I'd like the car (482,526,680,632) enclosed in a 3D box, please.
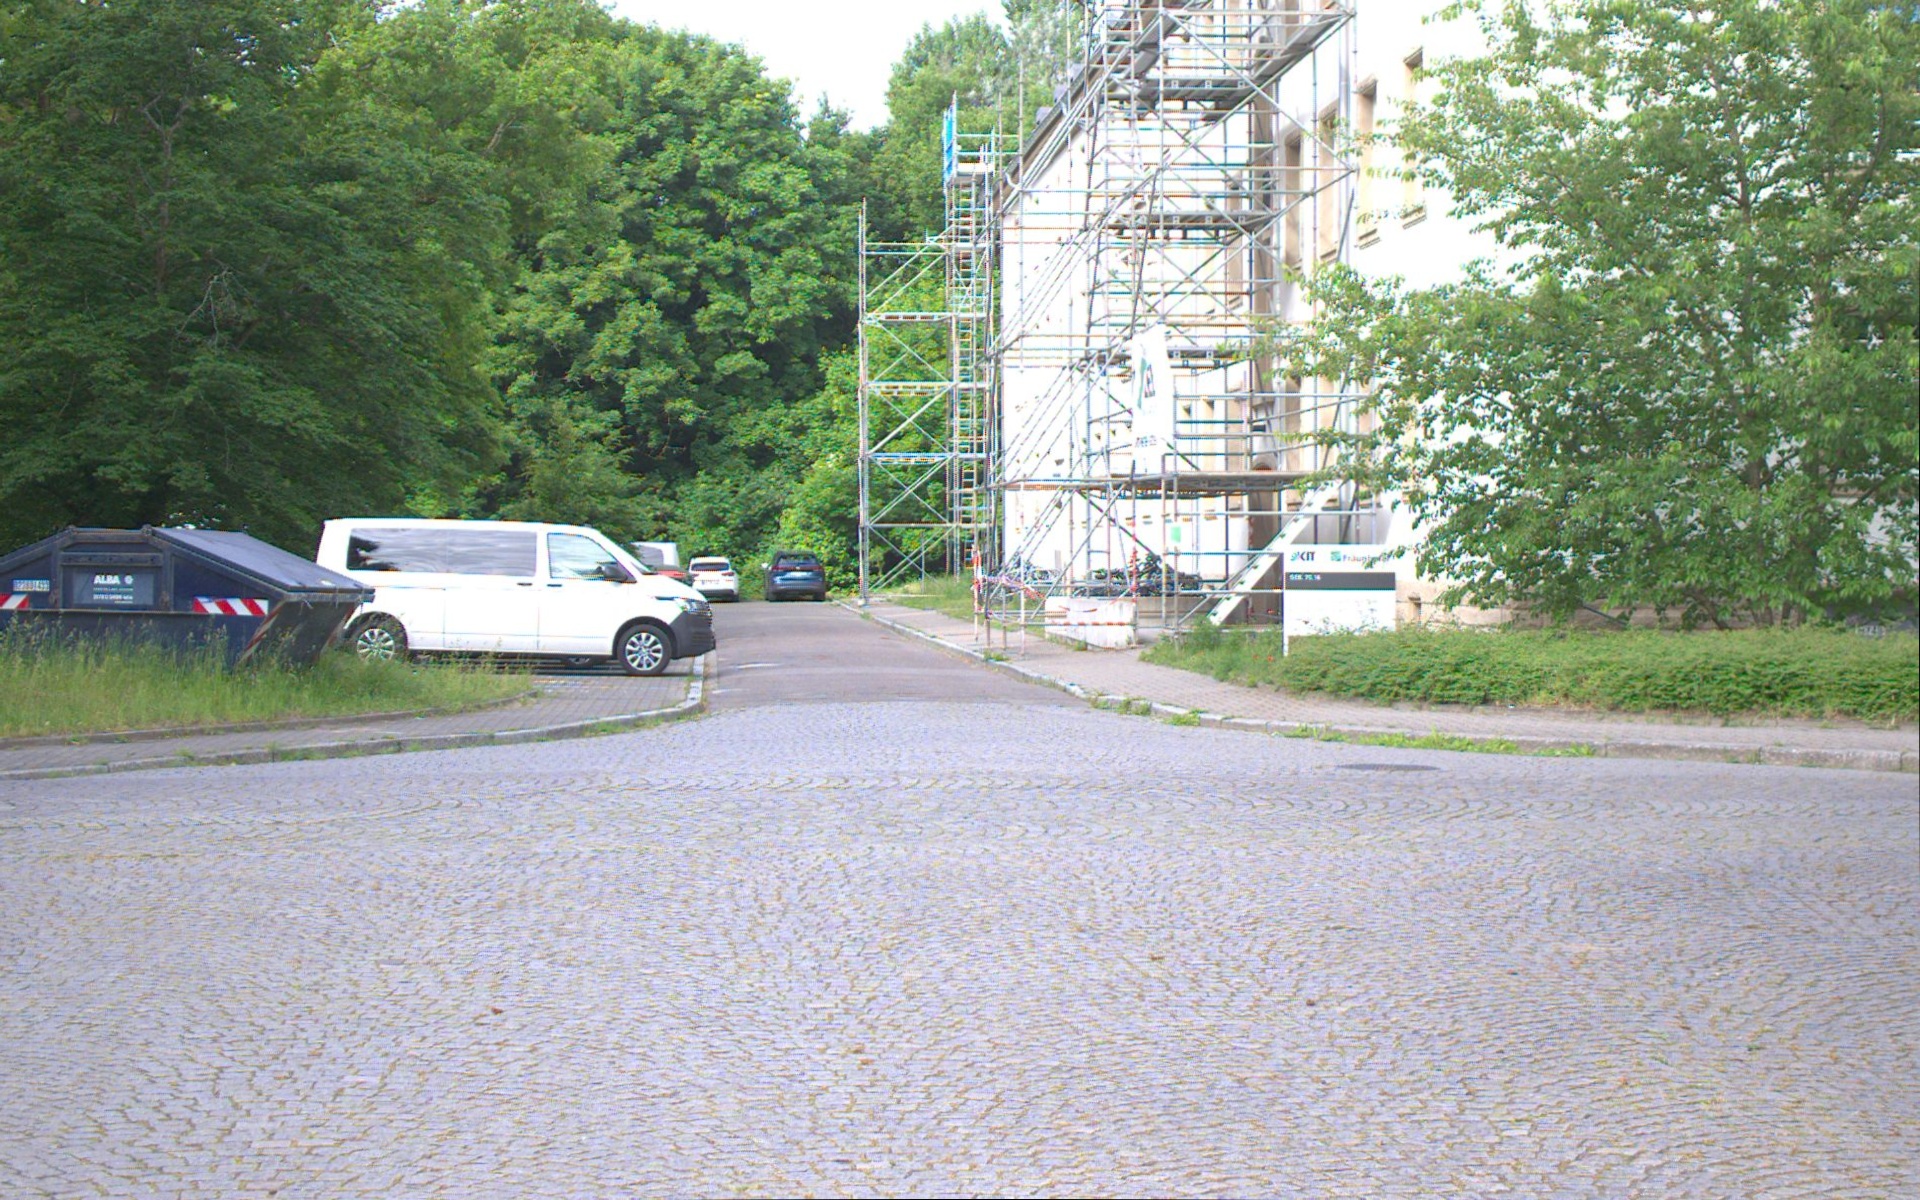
[{"bbox_3d":[-7.962,-0.438,72.125,3.986,2.007,1.922,3,0,-8],"label":"car"}]

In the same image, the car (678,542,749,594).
[{"bbox_3d":[-7.952,-1.026,110.620,2.001,1.542,3.959,3,0,-7],"label":"car"}]

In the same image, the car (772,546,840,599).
[{"bbox_3d":[-4.956,-0.881,111.155,2.063,1.588,4.000,3,0,-1],"label":"car"}]

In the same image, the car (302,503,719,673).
[{"bbox_3d":[-5.771,-0.150,44.638,5.200,2.053,2.188,1,0,-5],"label":"car"}]

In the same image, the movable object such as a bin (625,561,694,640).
[{"bbox_3d":[-5.529,0.006,63.278,1.183,1.402,0.975,3,0,-3],"label":"movable object such as a bin"}]

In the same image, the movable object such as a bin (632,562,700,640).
[{"bbox_3d":[-5.504,0.012,64.420,1.183,1.402,0.975,3,0,-3],"label":"movable object such as a bin"}]
